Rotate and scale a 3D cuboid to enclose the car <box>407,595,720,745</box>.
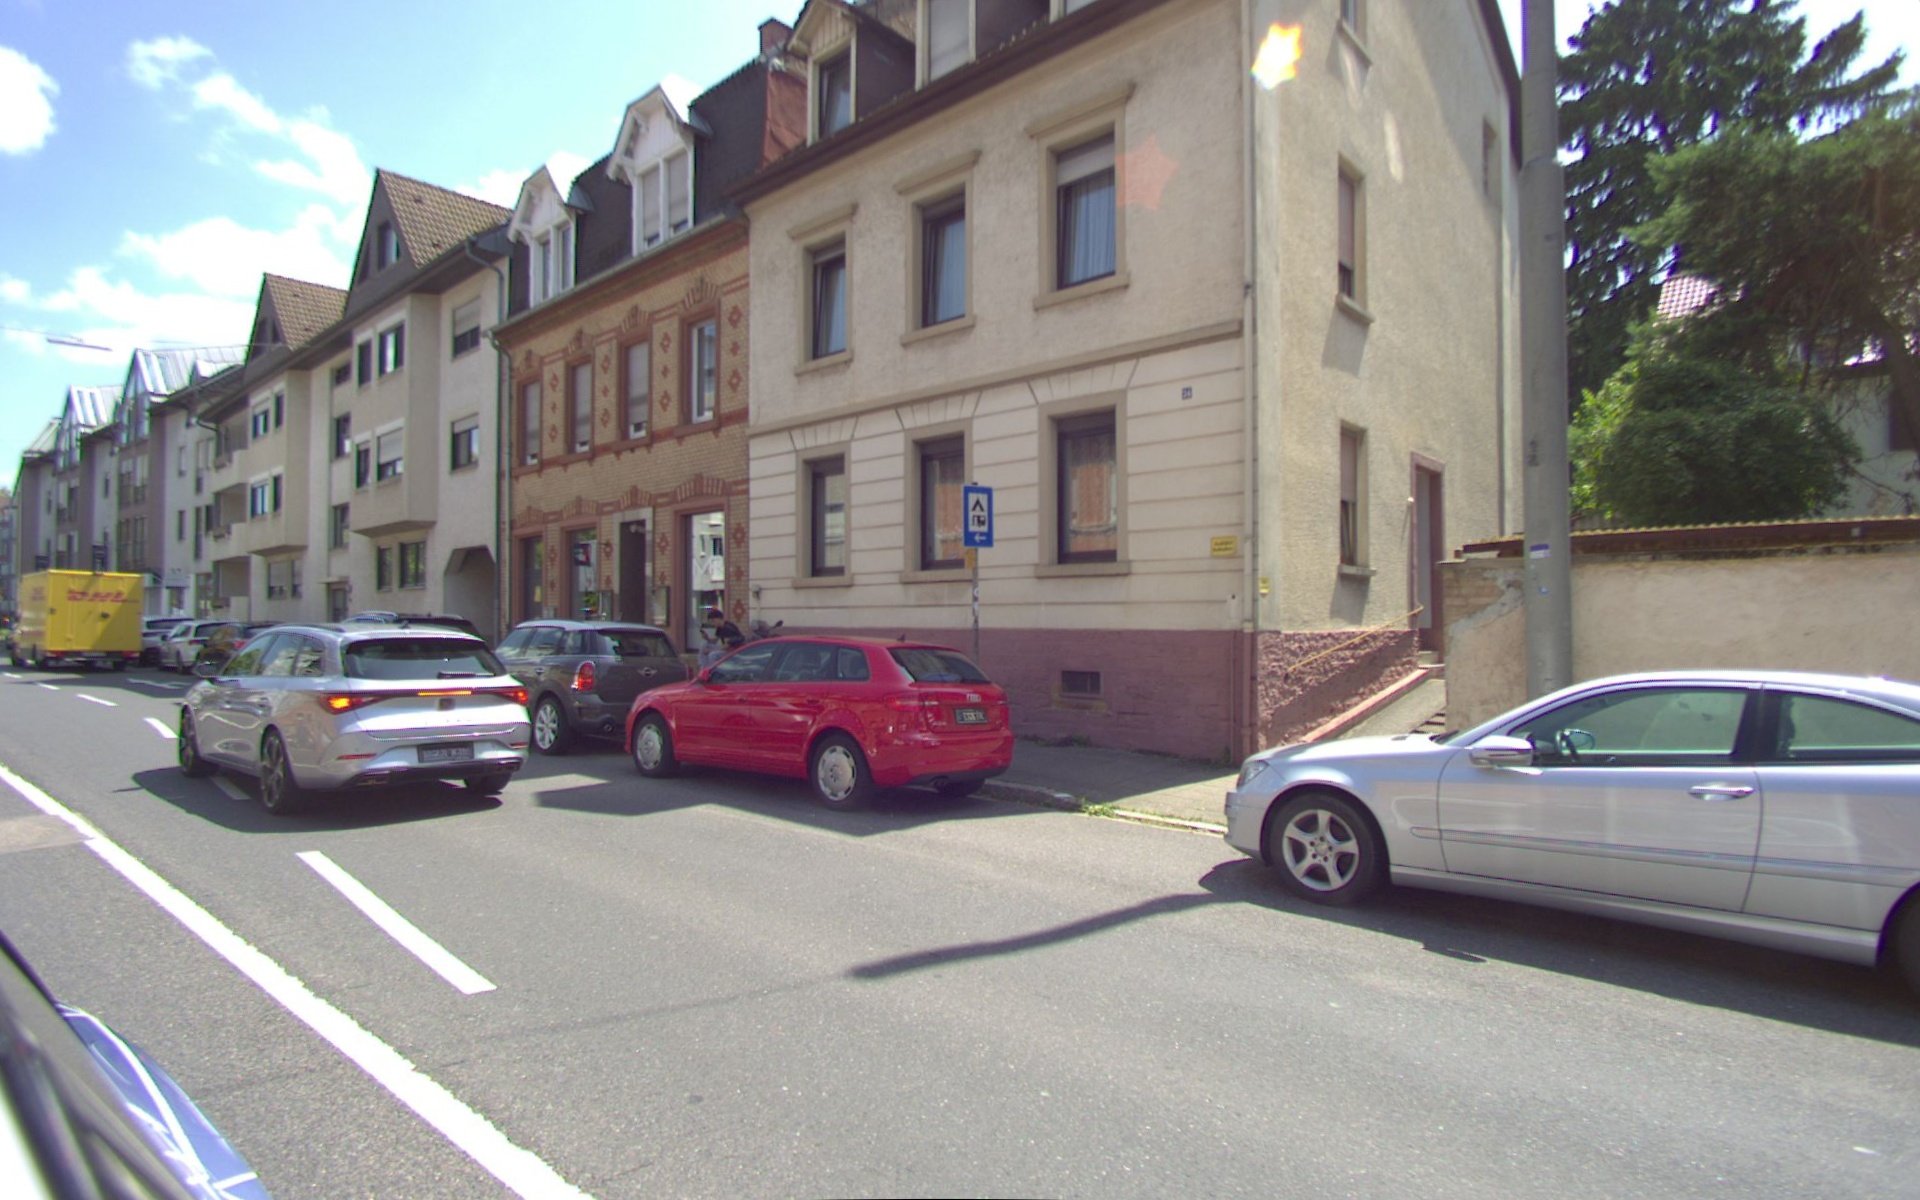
[{"bbox_3d":[-5.227,0.827,13.052,4.500,1.609,1.820,-1,-5,41],"label":"car"}]

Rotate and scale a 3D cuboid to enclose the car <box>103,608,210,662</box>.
[{"bbox_3d":[-26.355,1.086,33.145,4.382,1.607,1.822,-1,1,39],"label":"car"}]

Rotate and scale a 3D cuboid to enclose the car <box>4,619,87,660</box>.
[{"bbox_3d":[-37.459,1.583,41.431,4.381,1.500,1.822,-1,1,38],"label":"car"}]

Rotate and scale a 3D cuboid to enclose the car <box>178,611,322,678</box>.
[{"bbox_3d":[-18.093,1.070,25.731,4.497,1.499,1.822,-1,1,39],"label":"car"}]

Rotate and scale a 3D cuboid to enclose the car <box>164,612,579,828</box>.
[{"bbox_3d":[-5.257,0.843,8.789,4.312,1.431,1.772,-1,-3,41],"label":"car"}]

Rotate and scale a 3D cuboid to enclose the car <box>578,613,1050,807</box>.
[{"bbox_3d":[-1.538,0.912,9.646,4.496,1.433,1.822,-1,-5,38],"label":"car"}]

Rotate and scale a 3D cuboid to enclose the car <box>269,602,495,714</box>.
[{"bbox_3d":[-9.610,0.892,16.682,4.500,1.609,1.820,-1,-3,41],"label":"car"}]

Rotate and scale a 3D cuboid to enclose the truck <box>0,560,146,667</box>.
[{"bbox_3d":[-26.218,0.436,29.728,7.559,2.792,2.202,-1,-3,41],"label":"truck"}]

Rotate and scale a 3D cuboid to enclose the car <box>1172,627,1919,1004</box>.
[{"bbox_3d":[3.576,0.910,5.348,4.500,1.433,1.820,-1,-3,41],"label":"car"}]

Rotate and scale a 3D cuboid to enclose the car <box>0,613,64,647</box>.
[{"bbox_3d":[-44.427,1.390,48.280,4.965,1.458,1.821,-1,1,40],"label":"car"}]

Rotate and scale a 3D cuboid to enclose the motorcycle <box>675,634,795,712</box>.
[{"bbox_3d":[-3.434,1.071,15.363,1.871,1.087,0.836,-1,-2,42],"label":"motorcycle"}]

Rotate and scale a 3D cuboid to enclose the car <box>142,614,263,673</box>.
[{"bbox_3d":[-21.874,1.197,29.170,4.383,1.499,1.821,-1,1,40],"label":"car"}]

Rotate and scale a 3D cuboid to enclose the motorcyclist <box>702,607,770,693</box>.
[{"bbox_3d":[-3.380,0.743,15.255,0.711,1.257,0.711,-1,-2,40],"label":"motorcyclist"}]
